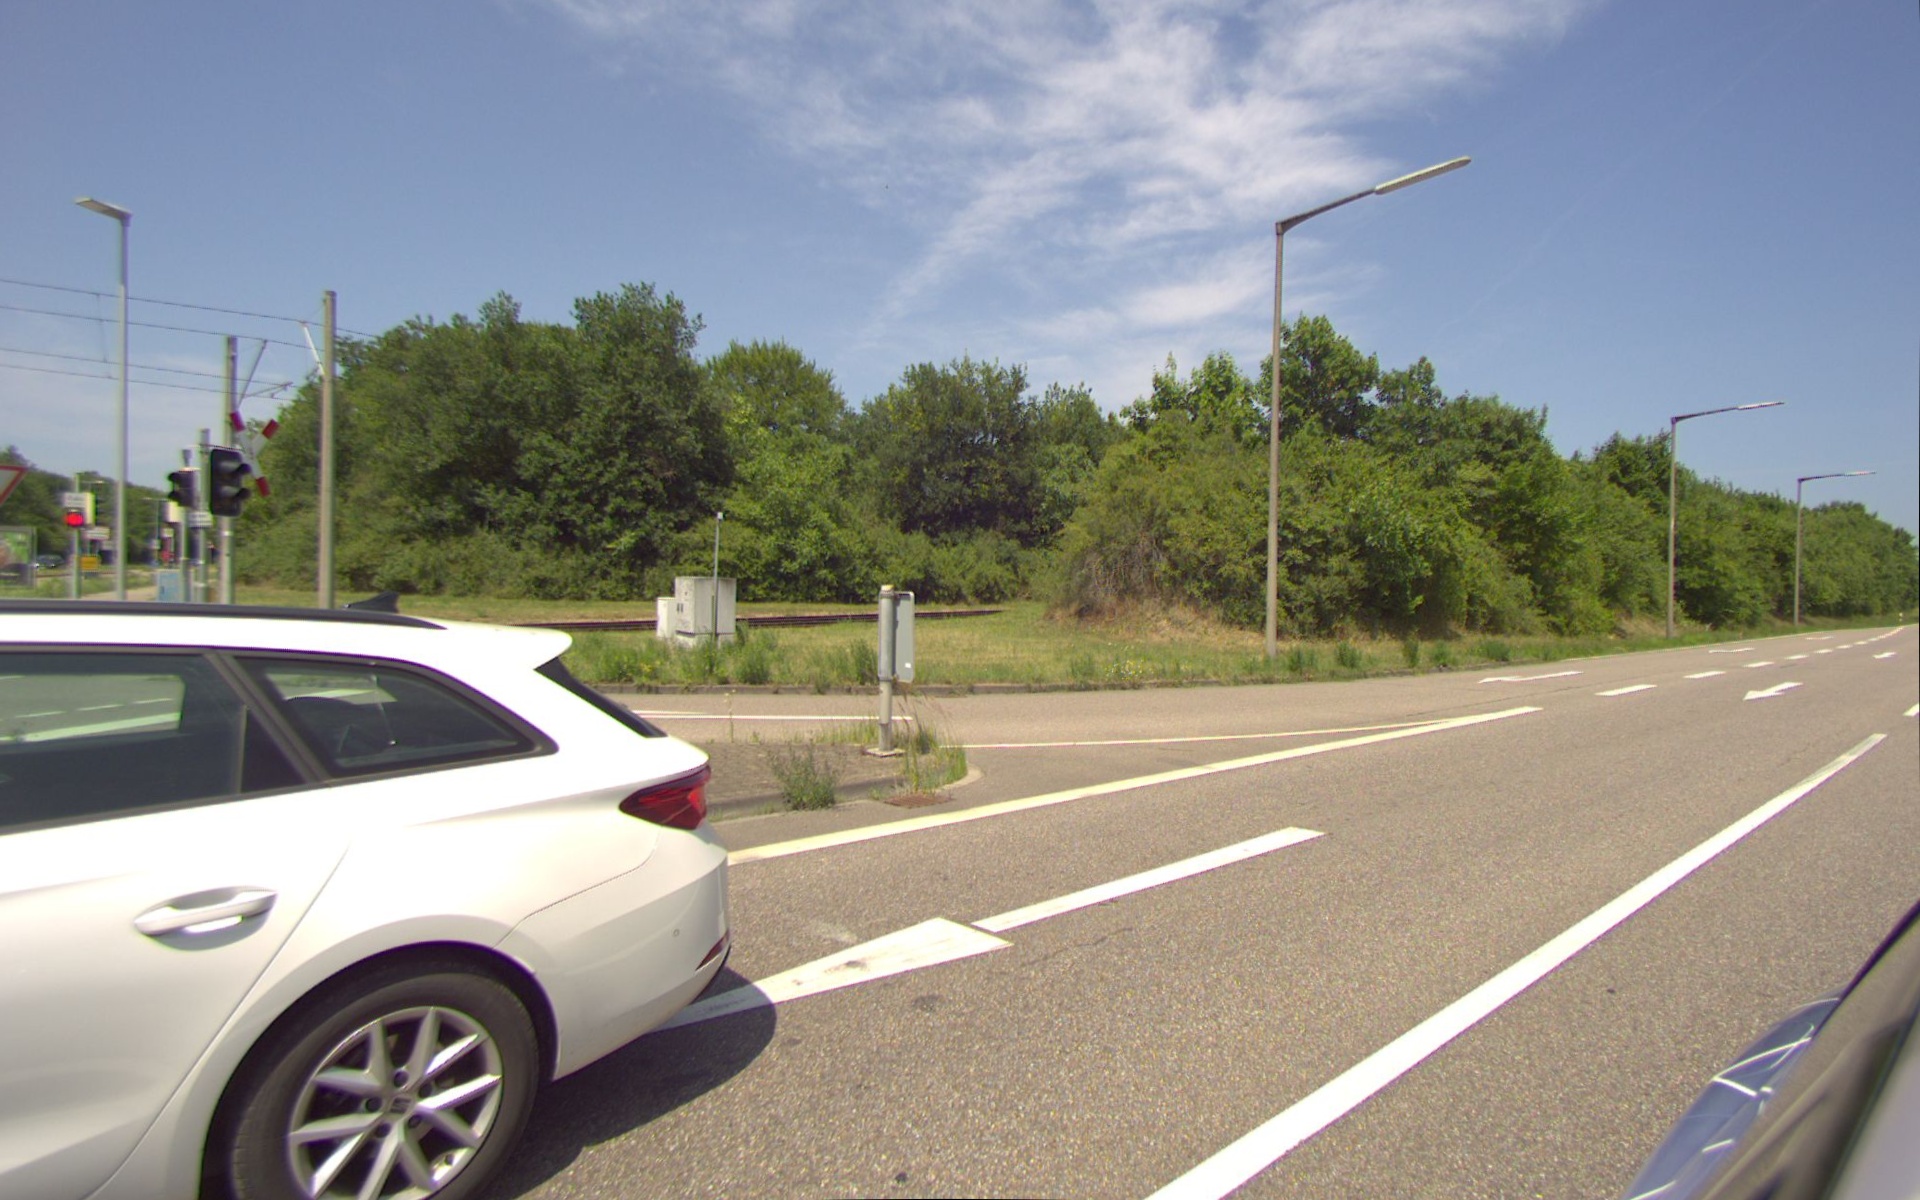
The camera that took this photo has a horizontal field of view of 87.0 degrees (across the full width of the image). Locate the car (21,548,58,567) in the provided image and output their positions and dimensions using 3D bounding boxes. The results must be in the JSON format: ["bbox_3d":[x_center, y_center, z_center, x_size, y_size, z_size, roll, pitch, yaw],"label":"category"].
[{"bbox_3d":[-82.756,-3.793,91.003,1.641,1.600,4.004,2,0,-31],"label":"car"}]

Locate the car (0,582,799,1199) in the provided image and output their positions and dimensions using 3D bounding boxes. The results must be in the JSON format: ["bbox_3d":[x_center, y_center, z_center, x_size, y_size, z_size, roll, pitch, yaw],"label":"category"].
[{"bbox_3d":[-2.637,0.669,2.048,4.375,1.407,1.684,0,1,-43],"label":"car"}]
